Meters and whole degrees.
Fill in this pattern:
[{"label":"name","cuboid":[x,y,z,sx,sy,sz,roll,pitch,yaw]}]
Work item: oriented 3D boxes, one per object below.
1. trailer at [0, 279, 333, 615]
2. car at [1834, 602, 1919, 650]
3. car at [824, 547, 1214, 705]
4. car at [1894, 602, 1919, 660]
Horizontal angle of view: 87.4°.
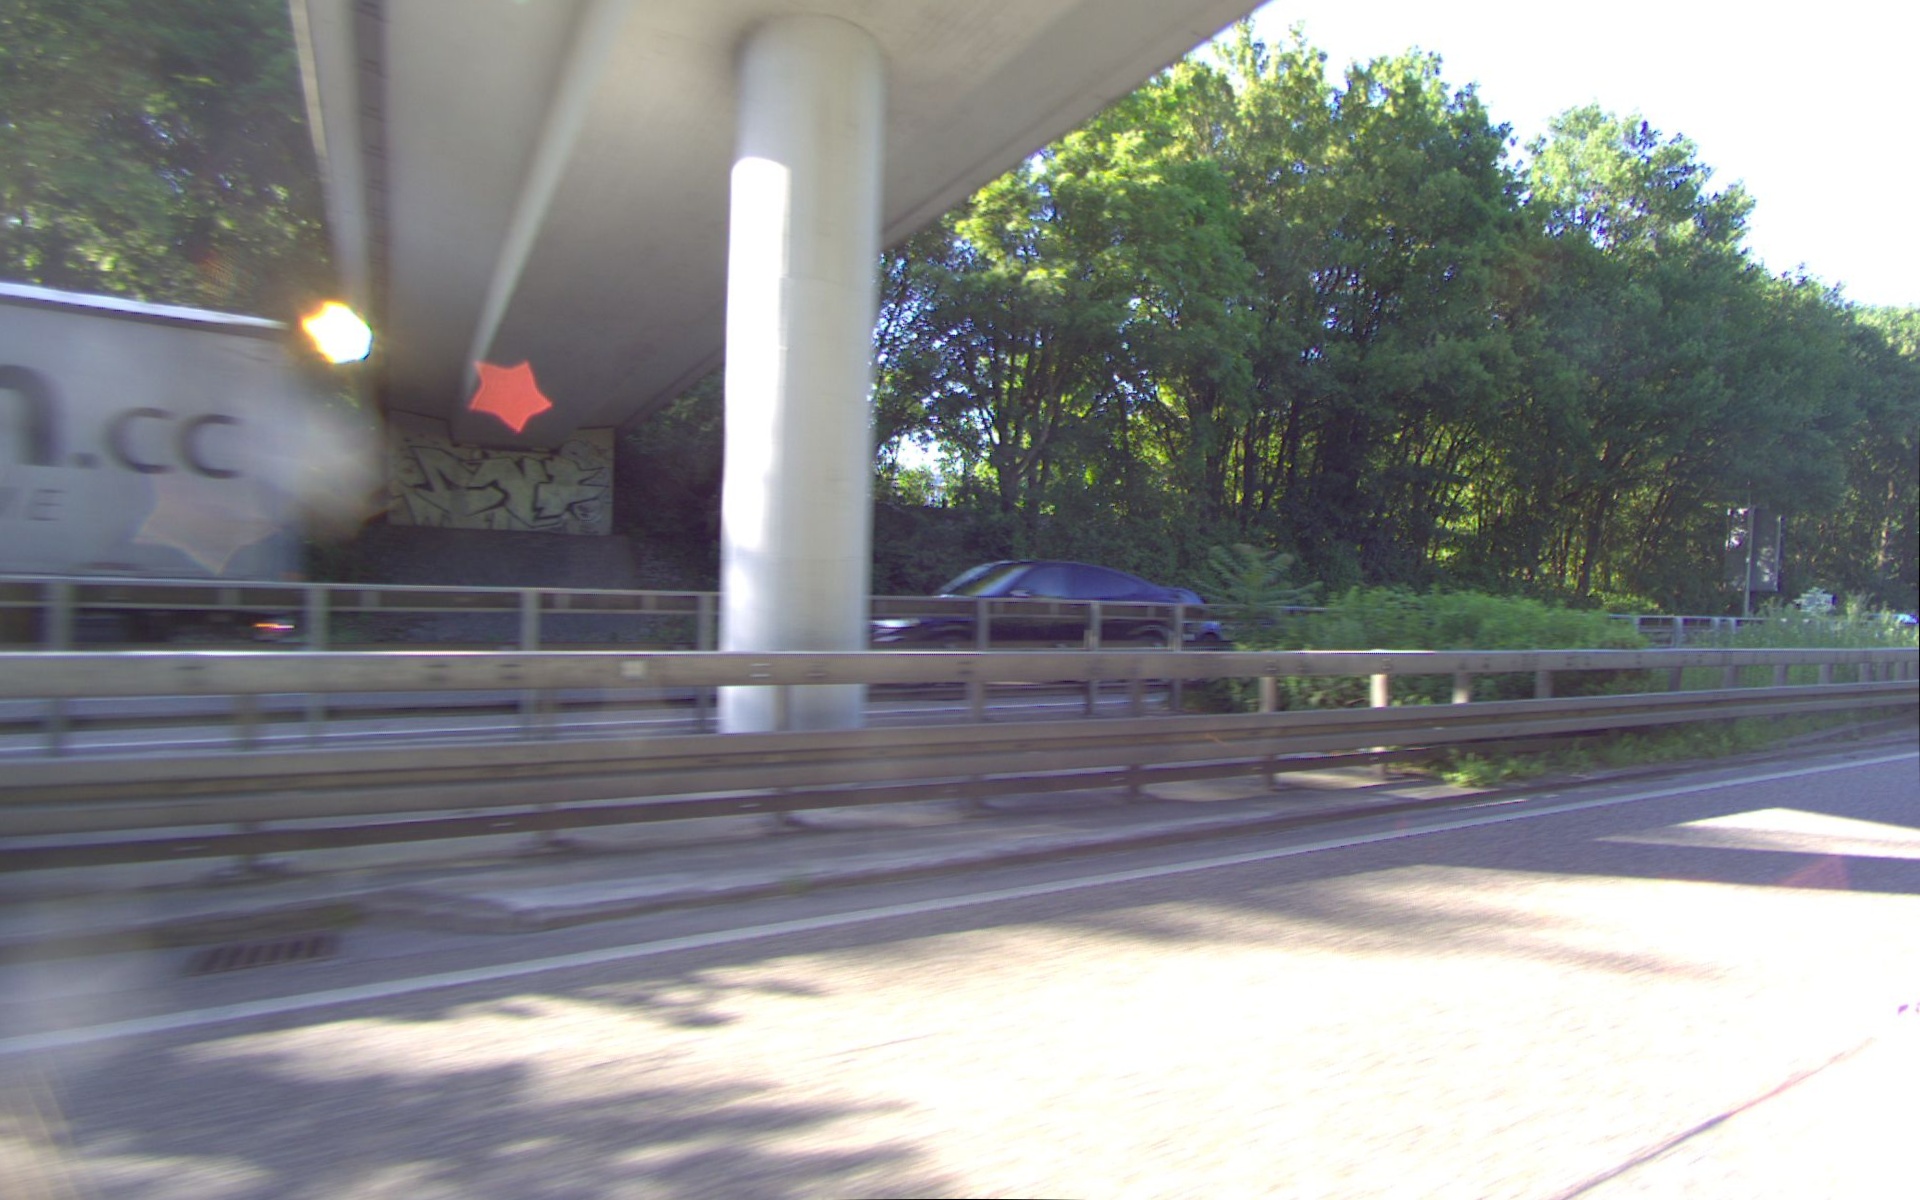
[{"label":"trailer","cuboid":[-12.905,-1.611,9.363,11.775,3.210,2.916,2,0,-30]},{"label":"car","cuboid":[36.945,1.028,39.980,4.293,1.773,1.983,2,0,-31]},{"label":"car","cuboid":[0.819,0.303,12.909,4.685,1.709,1.984,1,1,-30]},{"label":"car","cuboid":[31.416,1.012,31.584,4.063,1.739,1.887,1,1,-31]}]
